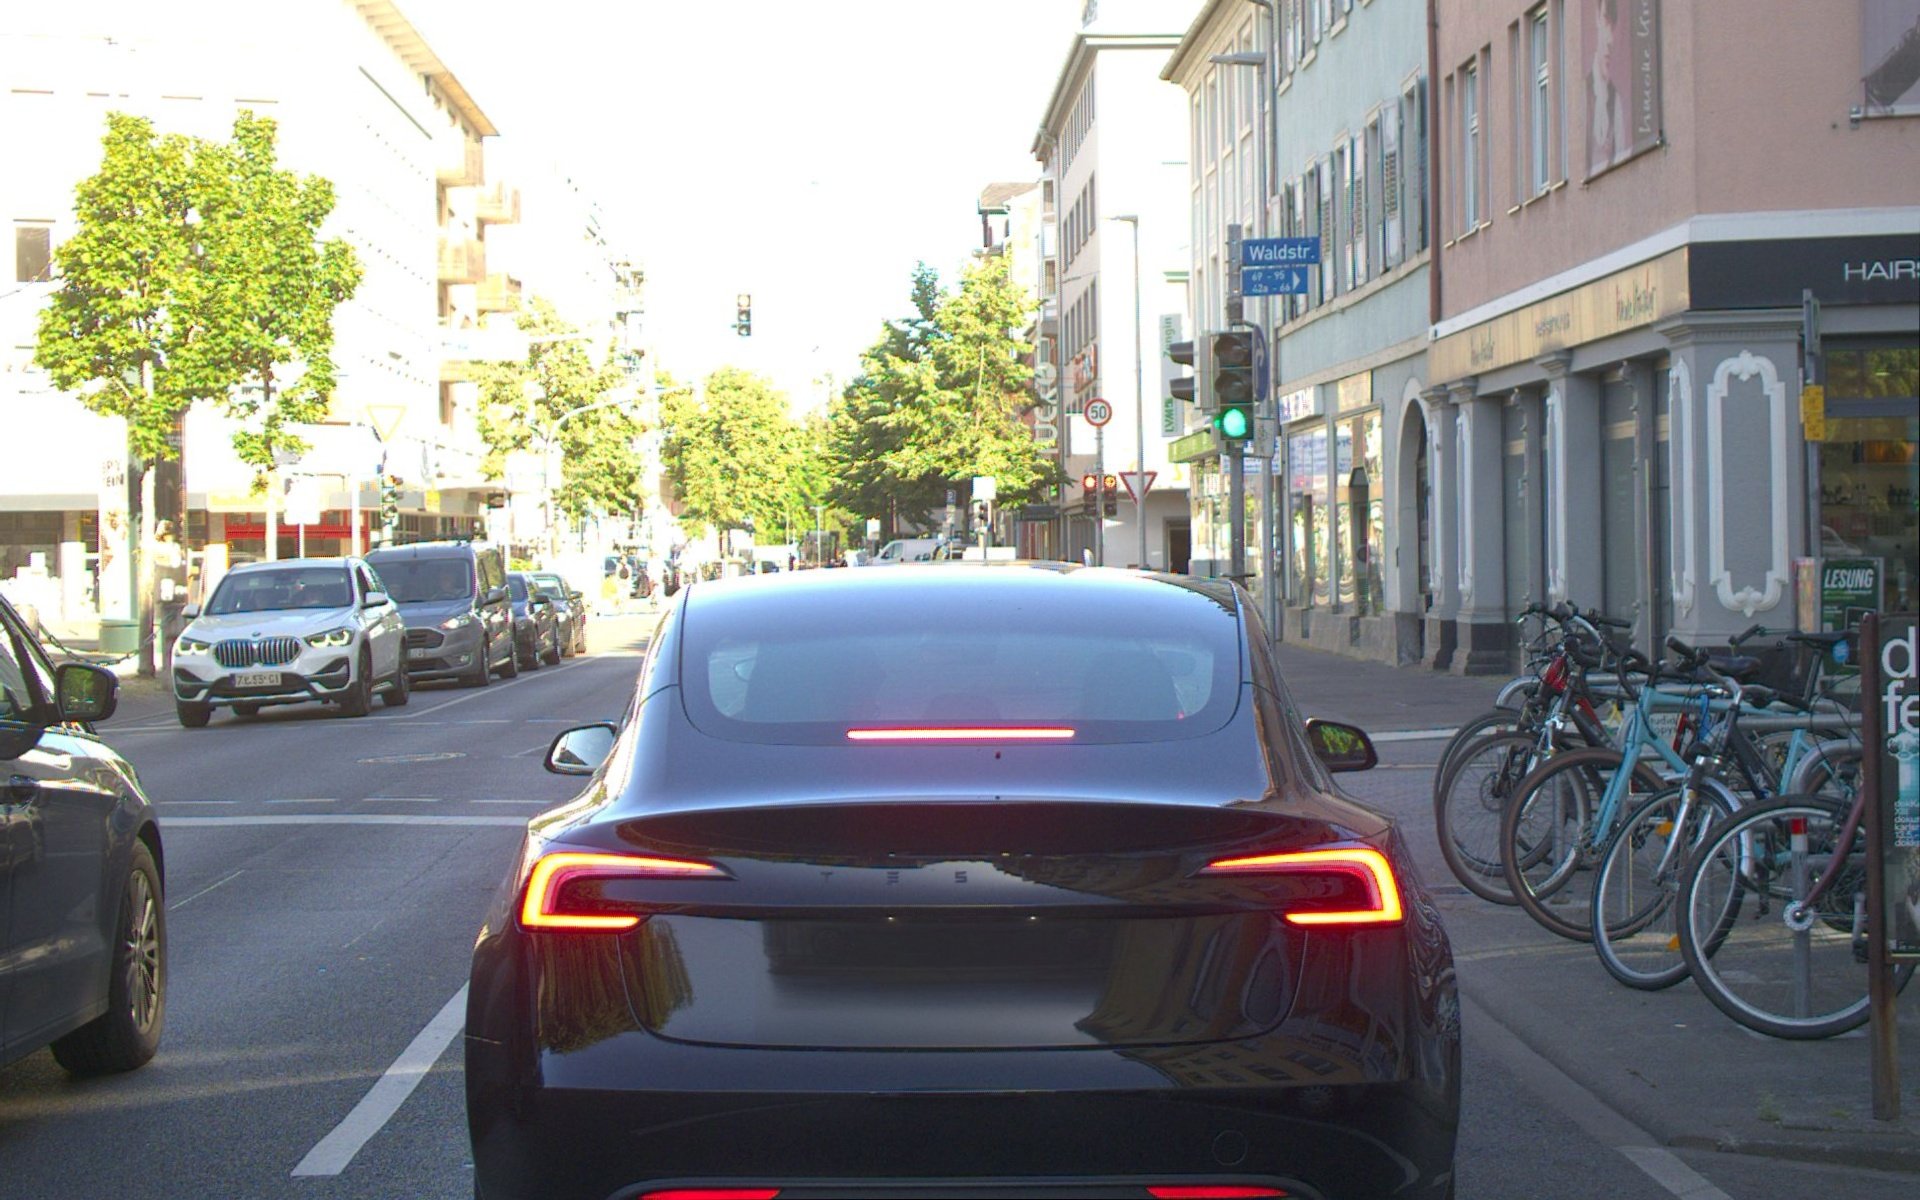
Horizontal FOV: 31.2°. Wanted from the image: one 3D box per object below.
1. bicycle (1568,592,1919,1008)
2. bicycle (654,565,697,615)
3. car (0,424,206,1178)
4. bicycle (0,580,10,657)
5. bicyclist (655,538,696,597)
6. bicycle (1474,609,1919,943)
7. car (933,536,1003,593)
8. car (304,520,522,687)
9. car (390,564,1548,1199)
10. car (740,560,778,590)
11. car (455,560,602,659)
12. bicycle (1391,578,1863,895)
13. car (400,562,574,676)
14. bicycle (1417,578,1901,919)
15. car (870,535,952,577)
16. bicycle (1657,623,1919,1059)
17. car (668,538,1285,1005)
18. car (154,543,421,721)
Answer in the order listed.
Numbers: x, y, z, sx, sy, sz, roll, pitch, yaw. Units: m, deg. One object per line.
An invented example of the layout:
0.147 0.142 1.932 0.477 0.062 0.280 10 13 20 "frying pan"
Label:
2.891 0.619 11.121 1.722 1.263 0.790 -2 1 5 "bicycle"
-7.887 -0.295 95.533 1.111 1.340 4.001 0 1 -3 "bicycle"
-3.259 0.480 8.201 1.993 1.766 4.729 -1 1 -2 "car"
-15.706 0.282 52.234 2.323 1.152 0.843 0 1 -5 "bicycle"
-7.905 -0.910 95.617 1.126 1.623 0.965 0 1 -3 "bicyclist"
2.811 0.622 12.473 1.798 1.120 0.781 -2 1 5 "bicycle"
0.224 -1.042 100.828 1.993 1.623 4.000 0 1 0 "car"
-6.709 -0.004 42.607 1.834 1.838 4.674 -4 1 0 "car"
-0.005 0.654 7.503 1.848 1.450 4.000 0 1 -1 "car"
-10.932 -1.368 187.077 1.993 1.631 4.001 0 1 -3 "car"
-7.105 0.122 57.026 1.993 1.431 4.675 -4 1 -3 "car"
2.815 0.568 14.681 1.862 1.253 0.832 -2 1 5 "bicycle"
-6.740 0.240 49.435 1.993 1.405 4.675 -4 1 -3 "car"
2.745 0.573 13.651 1.746 1.262 0.781 -2 1 3 "bicycle"
-2.411 -2.149 167.556 3.986 2.007 2.000 0 1 -2 "car"
3.037 0.668 9.989 1.886 1.189 0.691 -2 1 5 "bicycle"
-0.013 0.518 13.211 1.993 1.507 4.176 0 1 -2 "car"
-6.656 0.263 34.473 1.807 1.550 4.310 -4 1 -1 "car"
